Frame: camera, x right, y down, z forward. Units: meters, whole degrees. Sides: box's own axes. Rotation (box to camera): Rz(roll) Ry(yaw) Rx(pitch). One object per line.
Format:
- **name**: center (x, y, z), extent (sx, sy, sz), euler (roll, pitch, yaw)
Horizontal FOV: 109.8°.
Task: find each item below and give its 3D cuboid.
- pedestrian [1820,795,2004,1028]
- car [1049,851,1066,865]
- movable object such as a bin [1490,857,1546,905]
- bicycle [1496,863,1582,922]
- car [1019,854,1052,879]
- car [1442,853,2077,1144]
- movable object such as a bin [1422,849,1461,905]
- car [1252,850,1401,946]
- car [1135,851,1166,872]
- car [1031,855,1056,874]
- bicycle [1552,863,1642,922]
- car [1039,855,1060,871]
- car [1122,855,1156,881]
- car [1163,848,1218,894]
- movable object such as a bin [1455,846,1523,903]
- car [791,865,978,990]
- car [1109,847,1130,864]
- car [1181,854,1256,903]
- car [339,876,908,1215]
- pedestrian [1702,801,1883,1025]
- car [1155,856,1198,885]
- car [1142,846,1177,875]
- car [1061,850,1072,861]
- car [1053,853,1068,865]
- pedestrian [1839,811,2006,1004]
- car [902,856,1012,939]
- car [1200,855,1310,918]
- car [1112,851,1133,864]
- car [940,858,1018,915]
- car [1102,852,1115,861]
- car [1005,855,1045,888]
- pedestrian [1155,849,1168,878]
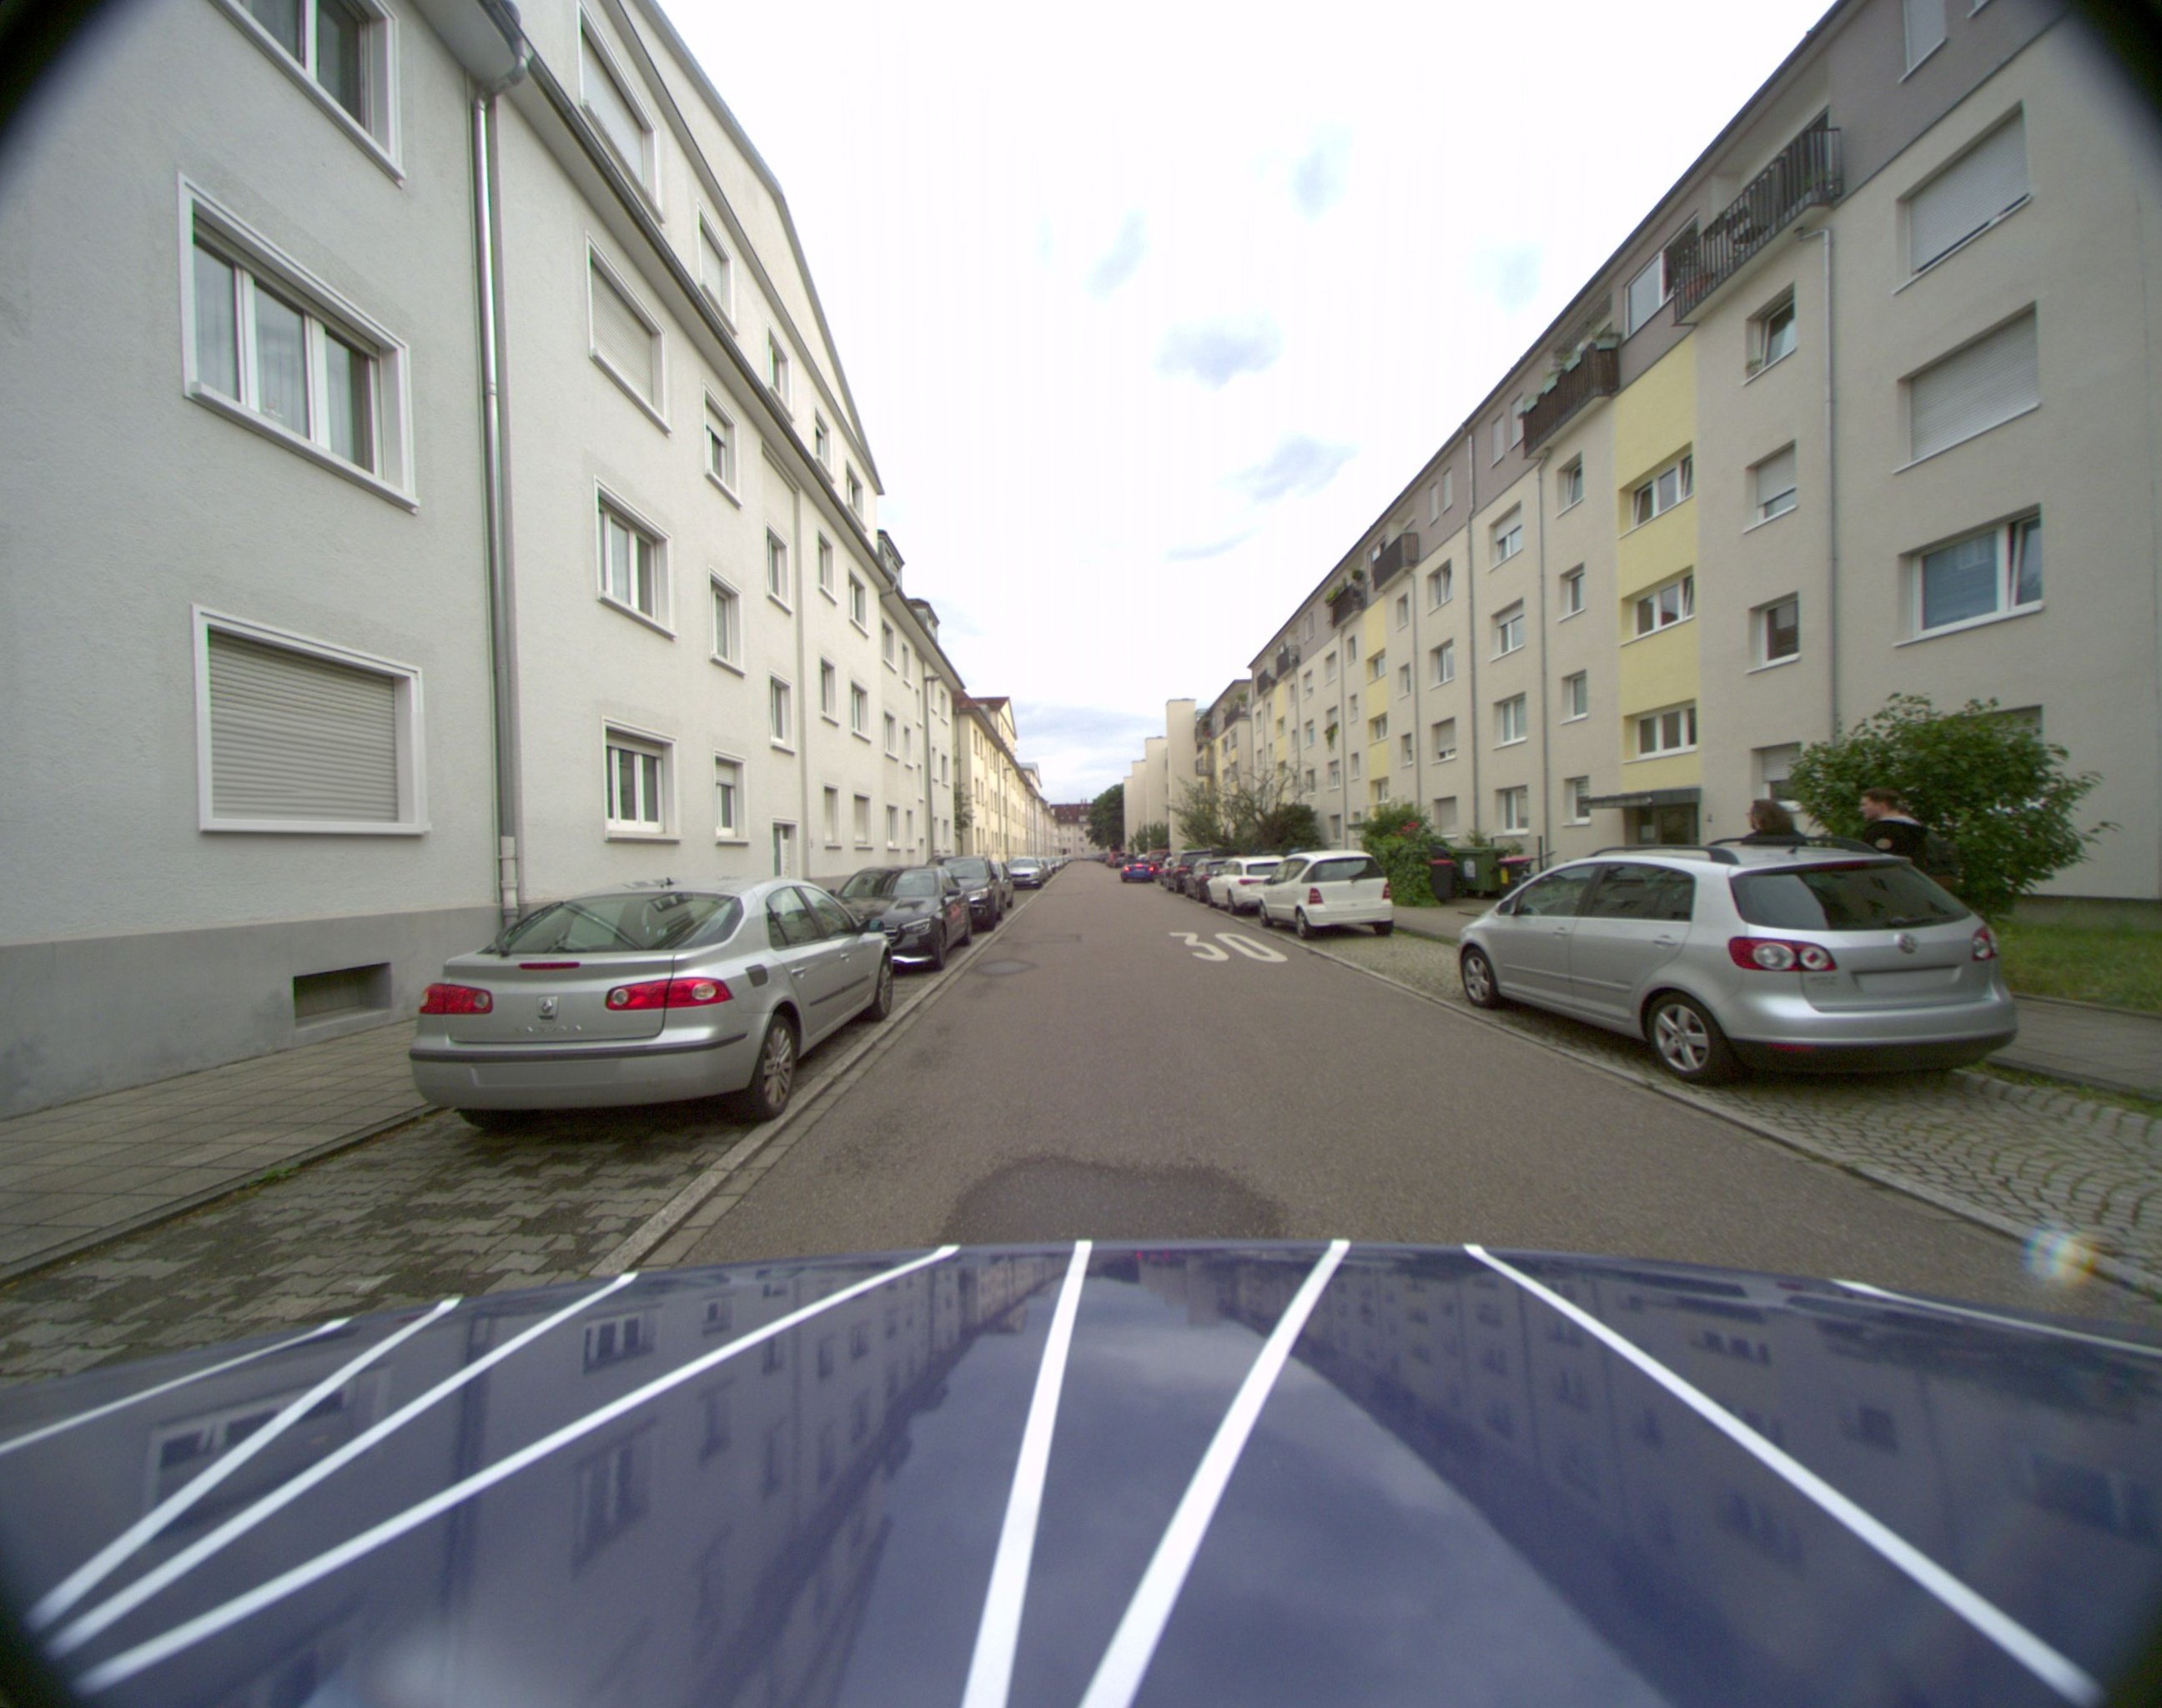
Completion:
- **pedestrian**: center (6.998, 0.462, 6.440), extent (0.708, 1.843, 0.763), euler (-2, 1, 0)
- **car**: center (-2.614, 0.455, 84.933), extent (1.737, 1.443, 4.217), euler (-1, 0, -1)
- **movable object such as a bin**: center (10.627, 0.646, 18.500), extent (0.871, 1.103, 0.787), euler (-2, 2, -4)
- **bicycle**: center (8.698, 0.703, 14.512), extent (0.489, 1.018, 1.878), euler (-1, 0, 0)
- **car**: center (-2.762, 0.740, 46.803), extent (1.737, 1.418, 4.217), euler (-1, 0, 0)
- **car**: center (4.730, 0.811, 6.211), extent (1.658, 1.541, 3.915), euler (-3, 0, 1)
- **movable object such as a bin**: center (9.031, 0.564, 19.050), extent (0.659, 1.360, 0.587), euler (-2, 2, -4)
- **car**: center (4.733, 0.771, 15.210), extent (1.689, 1.629, 3.727), euler (-1, 0, -1)
- **car**: center (5.047, 0.545, 55.577), extent (1.707, 1.436, 3.541), euler (-1, 0, -2)
- **car**: center (-2.827, 0.766, 58.046), extent (1.737, 1.402, 4.217), euler (-1, 0, -1)
- **bicycle**: center (9.674, 0.690, 14.325), extent (0.479, 1.018, 1.754), euler (-2, 0, -1)
- **car**: center (-2.678, 0.754, 65.756), extent (1.737, 1.363, 4.217), euler (-1, 0, -1)
- **car**: center (3.316, 0.791, 43.964), extent (1.679, 1.307, 3.907), euler (-1, 1, 1)
- **car**: center (4.524, 0.687, 32.024), extent (1.575, 1.769, 4.452), euler (-1, 0, -1)
- **movable object such as a bin**: center (10.486, 0.497, 19.565), extent (1.059, 1.367, 1.188), euler (-2, 2, -5)
- **car**: center (-2.723, 0.943, 11.581), extent (1.786, 1.454, 4.322), euler (-1, 0, -1)
- **car**: center (4.846, 0.212, 95.778), extent (2.188, 2.019, 4.422), euler (-1, 0, -2)
- **car**: center (4.584, 0.767, 25.996), extent (1.729, 1.445, 4.482), euler (-1, 0, 0)
- **car**: center (-2.672, 0.971, 5.830), extent (1.737, 1.454, 4.430), euler (-1, 0, -1)
- **pedestrian**: center (6.370, 0.496, 6.865), extent (0.642, 1.853, 0.974), euler (-3, 1, 0)
- **car**: center (4.853, 0.802, 38.836), extent (1.575, 1.389, 3.541), euler (-1, 0, -2)
- **car**: center (5.075, 0.405, 49.388), extent (1.707, 1.795, 3.541), euler (-1, 0, -2)
- **car**: center (-2.397, 0.259, 123.752), extent (1.737, 1.670, 3.591), euler (-1, 0, -1)
- **car**: center (-2.570, 0.603, 94.726), extent (1.737, 1.443, 4.217), euler (-1, 0, -1)
- **pedestrian**: center (7.640, 0.460, 6.939), extent (0.616, 1.647, 0.803), euler (-2, 1, 0)
- **car**: center (-2.626, 0.865, 17.051), extent (1.853, 1.589, 4.159), euler (-1, 0, -1)
- **car**: center (4.601, 0.802, 20.814), extent (1.723, 1.501, 4.686), euler (-1, 0, -2)
- **car**: center (4.902, 0.464, 89.543), extent (2.013, 1.436, 4.196), euler (-1, 0, -2)
- **car**: center (-2.867, 0.867, 22.111), extent (1.737, 1.478, 3.756), euler (-1, 0, 0)
- **car**: center (4.853, 0.446, 135.426), extent (1.746, 1.534, 3.636), euler (-2, 0, -6)
- **car**: center (-2.743, 0.834, 37.890), extent (1.737, 1.538, 3.677), euler (-1, 1, -1)
- **pedestrian**: center (4.703, 0.540, 44.544), extent (0.603, 1.657, 0.622), euler (-2, 1, -3)
